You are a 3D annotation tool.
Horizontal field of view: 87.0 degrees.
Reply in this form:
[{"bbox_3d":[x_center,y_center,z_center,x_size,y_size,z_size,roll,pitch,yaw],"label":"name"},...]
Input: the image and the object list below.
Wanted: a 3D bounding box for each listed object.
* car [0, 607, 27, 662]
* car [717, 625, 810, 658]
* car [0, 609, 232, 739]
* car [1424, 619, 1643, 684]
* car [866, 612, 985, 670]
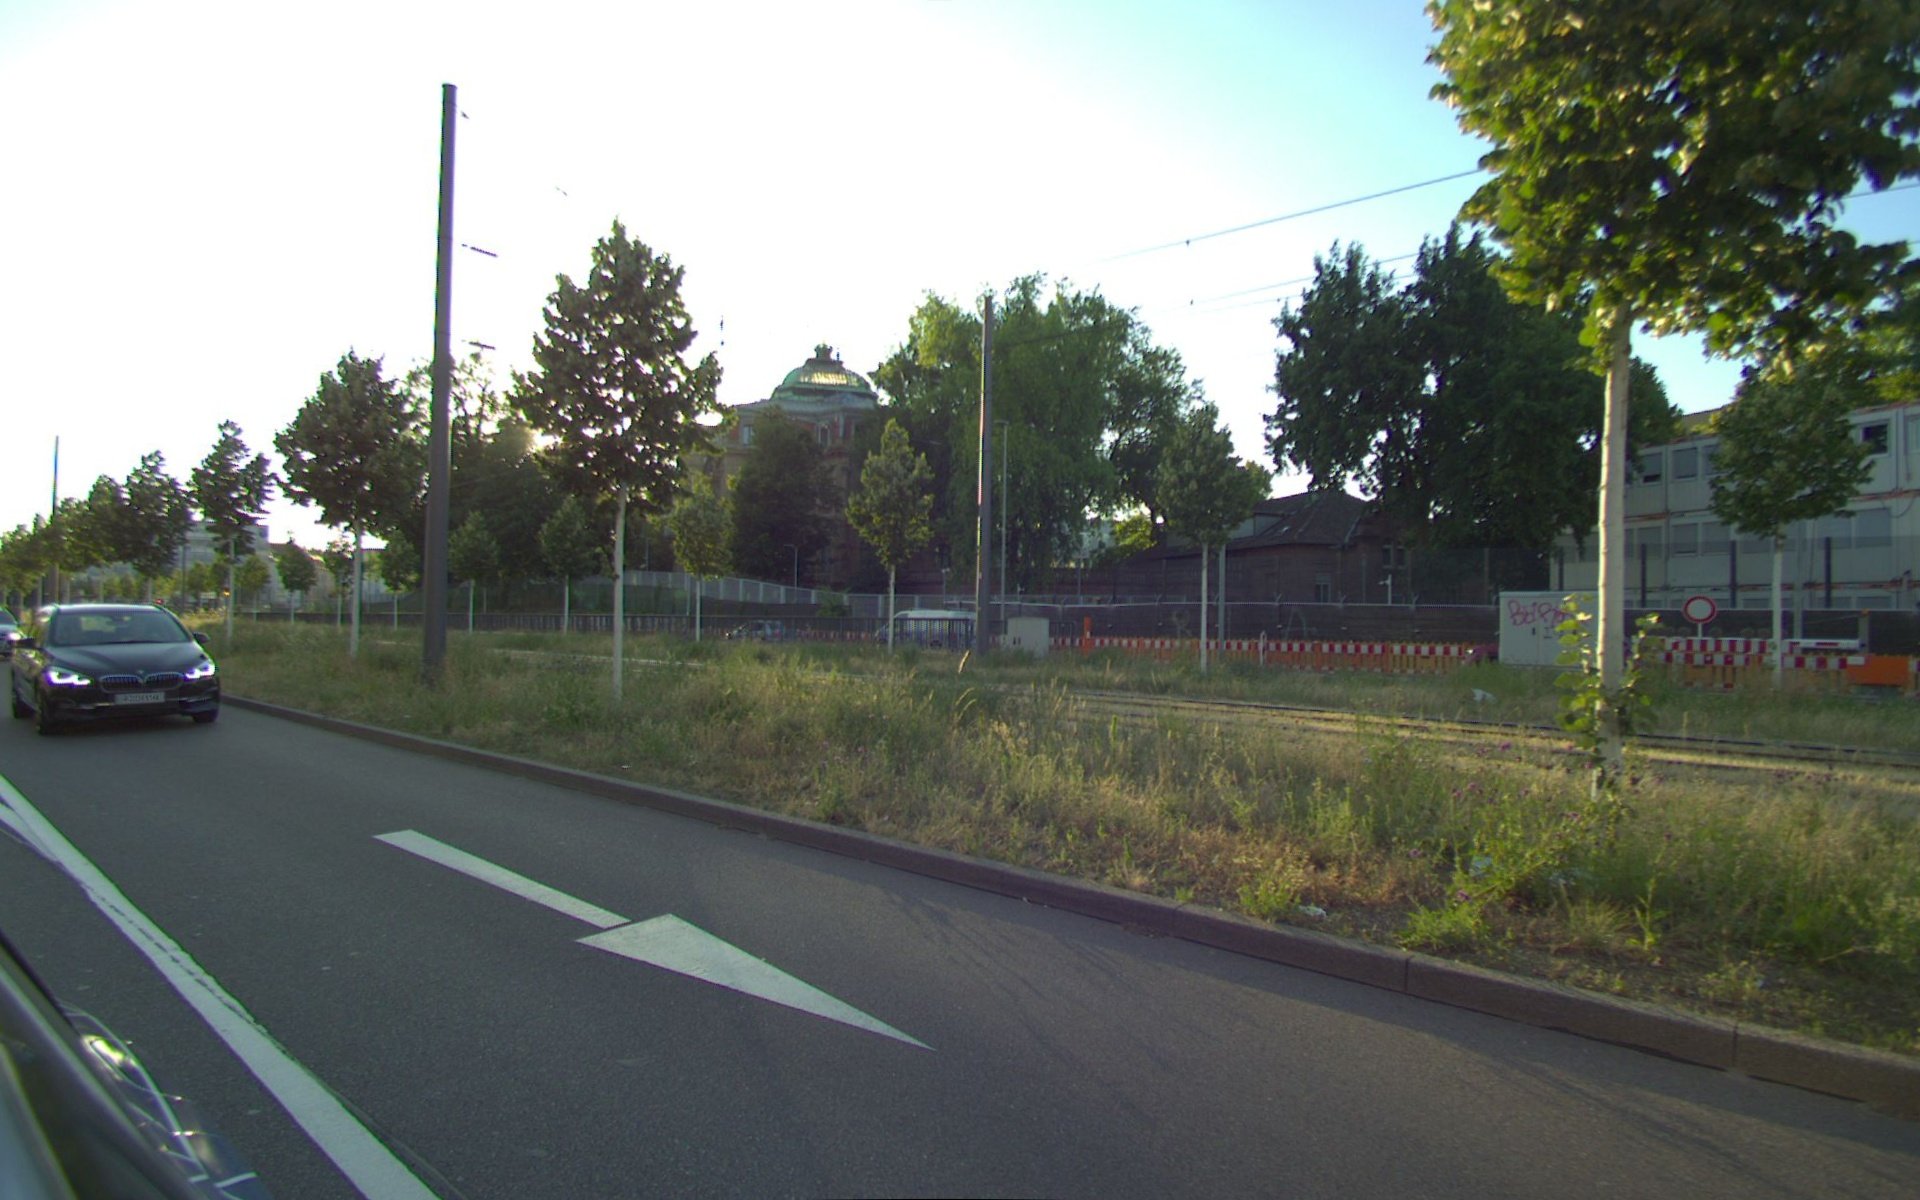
[{"bbox_3d":[-27.640,0.988,28.316,4.841,1.444,1.835,-2,-2,42],"label":"car"},{"bbox_3d":[-9.338,1.965,48.001,4.520,1.492,1.973,-2,-2,41],"label":"car"},{"bbox_3d":[-11.567,0.911,13.677,4.841,1.444,1.835,-2,-2,42],"label":"car"},{"bbox_3d":[14.539,1.279,25.799,4.521,1.492,1.972,-2,-2,42],"label":"car"},{"bbox_3d":[-1.444,1.615,40.506,4.750,2.184,1.972,-2,-2,43],"label":"car"}]
